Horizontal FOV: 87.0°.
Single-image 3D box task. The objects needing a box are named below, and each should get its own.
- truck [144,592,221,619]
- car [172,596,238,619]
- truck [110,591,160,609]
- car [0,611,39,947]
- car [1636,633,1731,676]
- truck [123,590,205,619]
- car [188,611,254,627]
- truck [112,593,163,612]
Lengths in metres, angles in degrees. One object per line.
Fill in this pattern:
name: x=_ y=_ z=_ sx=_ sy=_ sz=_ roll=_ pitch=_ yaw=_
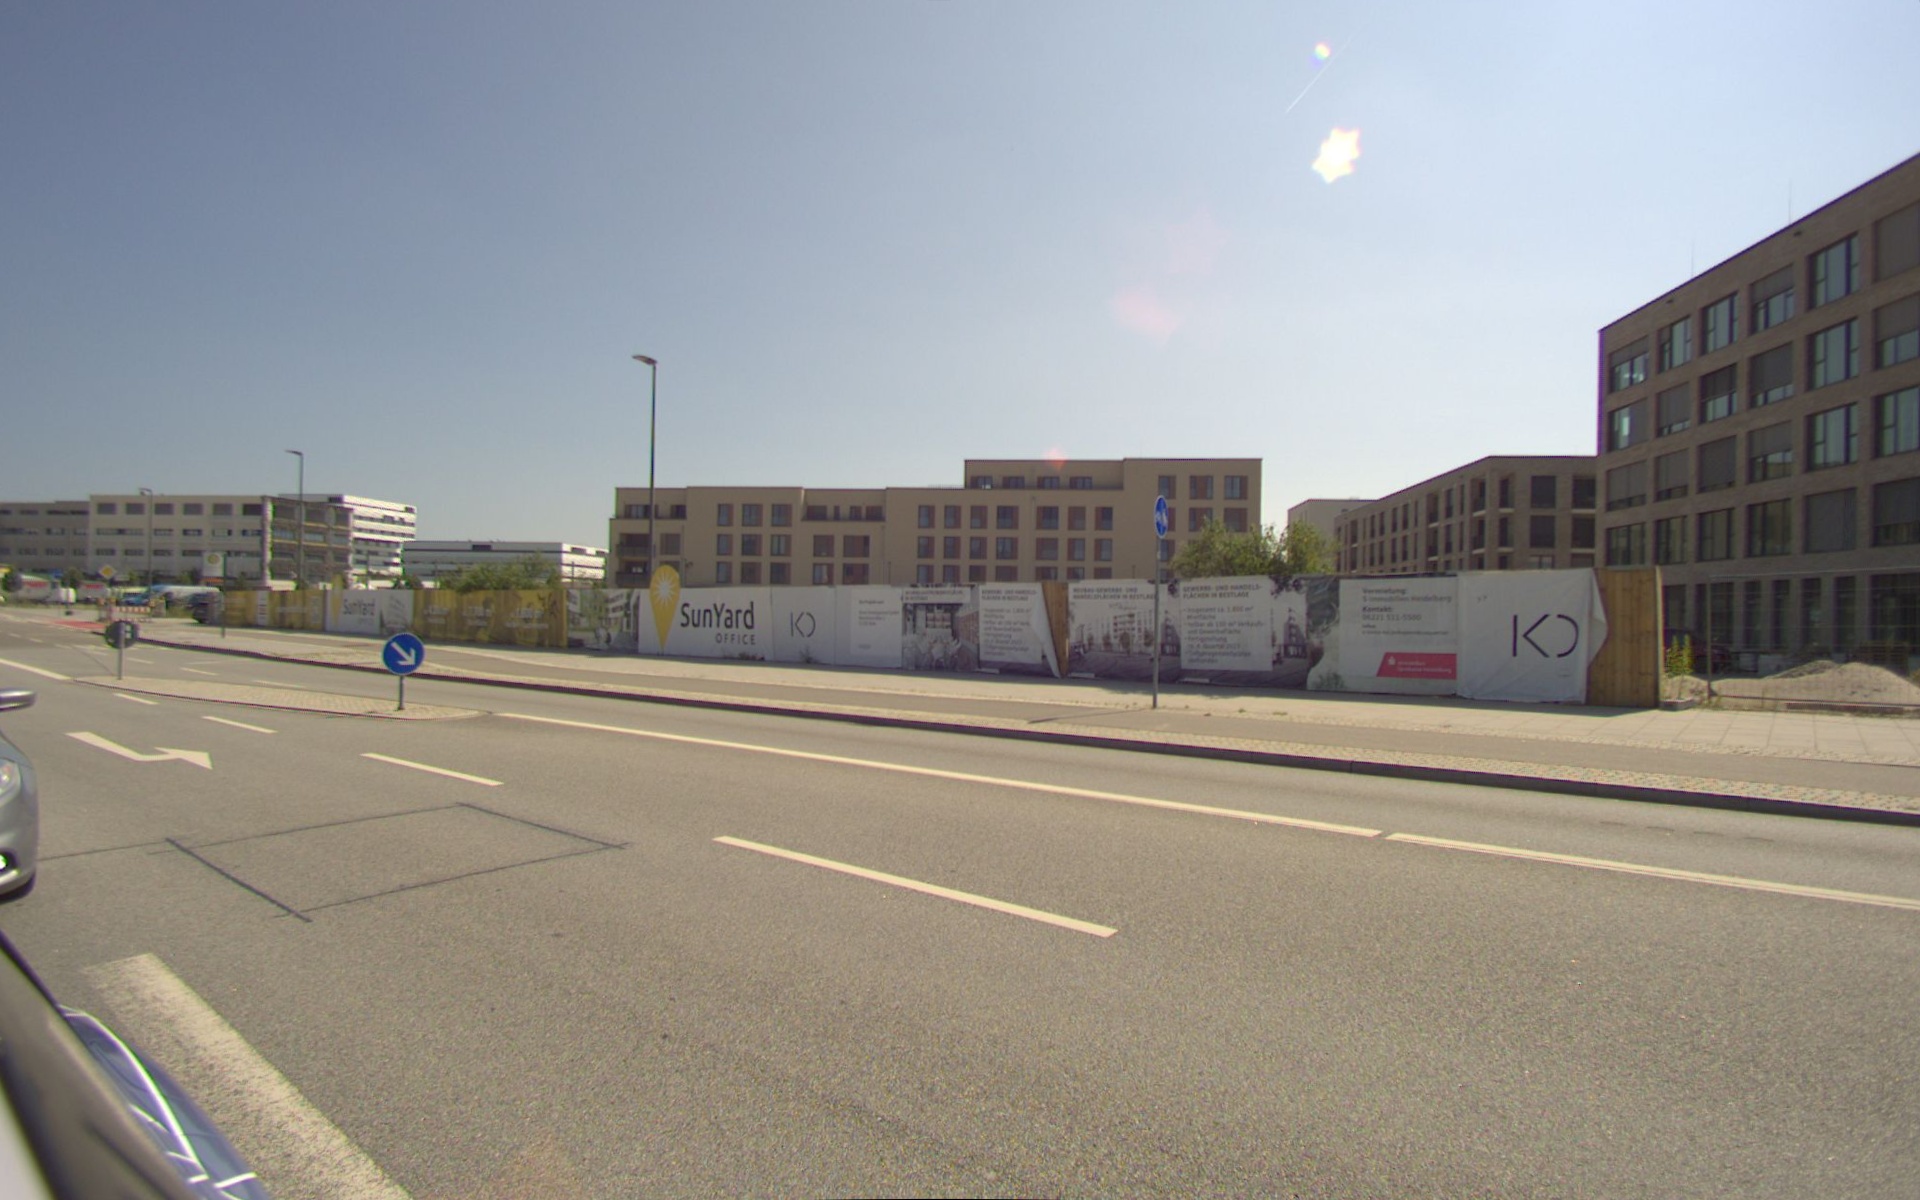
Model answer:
truck: x=-67.063 y=0.423 z=87.312 sx=1.998 sy=2.245 sz=4.942 roll=0 pitch=1 yaw=39
car: x=-60.263 y=0.601 z=80.806 sx=1.888 sy=1.731 sz=3.885 roll=0 pitch=1 yaw=35
truck: x=-120.118 y=-0.016 z=147.469 sx=1.998 sy=2.494 sz=5.346 roll=0 pitch=1 yaw=38
car: x=-6.361 y=0.804 z=5.313 sx=4.345 sy=1.478 sz=1.796 roll=-1 pitch=-1 yaw=41
car: x=32.045 y=2.394 z=44.947 sx=1.814 sy=1.666 sz=3.772 roll=0 pitch=0 yaw=7
truck: x=-72.500 y=0.386 z=92.285 sx=1.996 sy=2.494 sz=5.567 roll=0 pitch=1 yaw=36
car: x=-48.260 y=1.245 z=66.142 sx=1.293 sy=0.960 sz=3.315 roll=0 pitch=1 yaw=43
truck: x=-114.870 y=0.299 z=141.367 sx=1.996 sy=2.494 sz=5.270 roll=0 pitch=1 yaw=36
